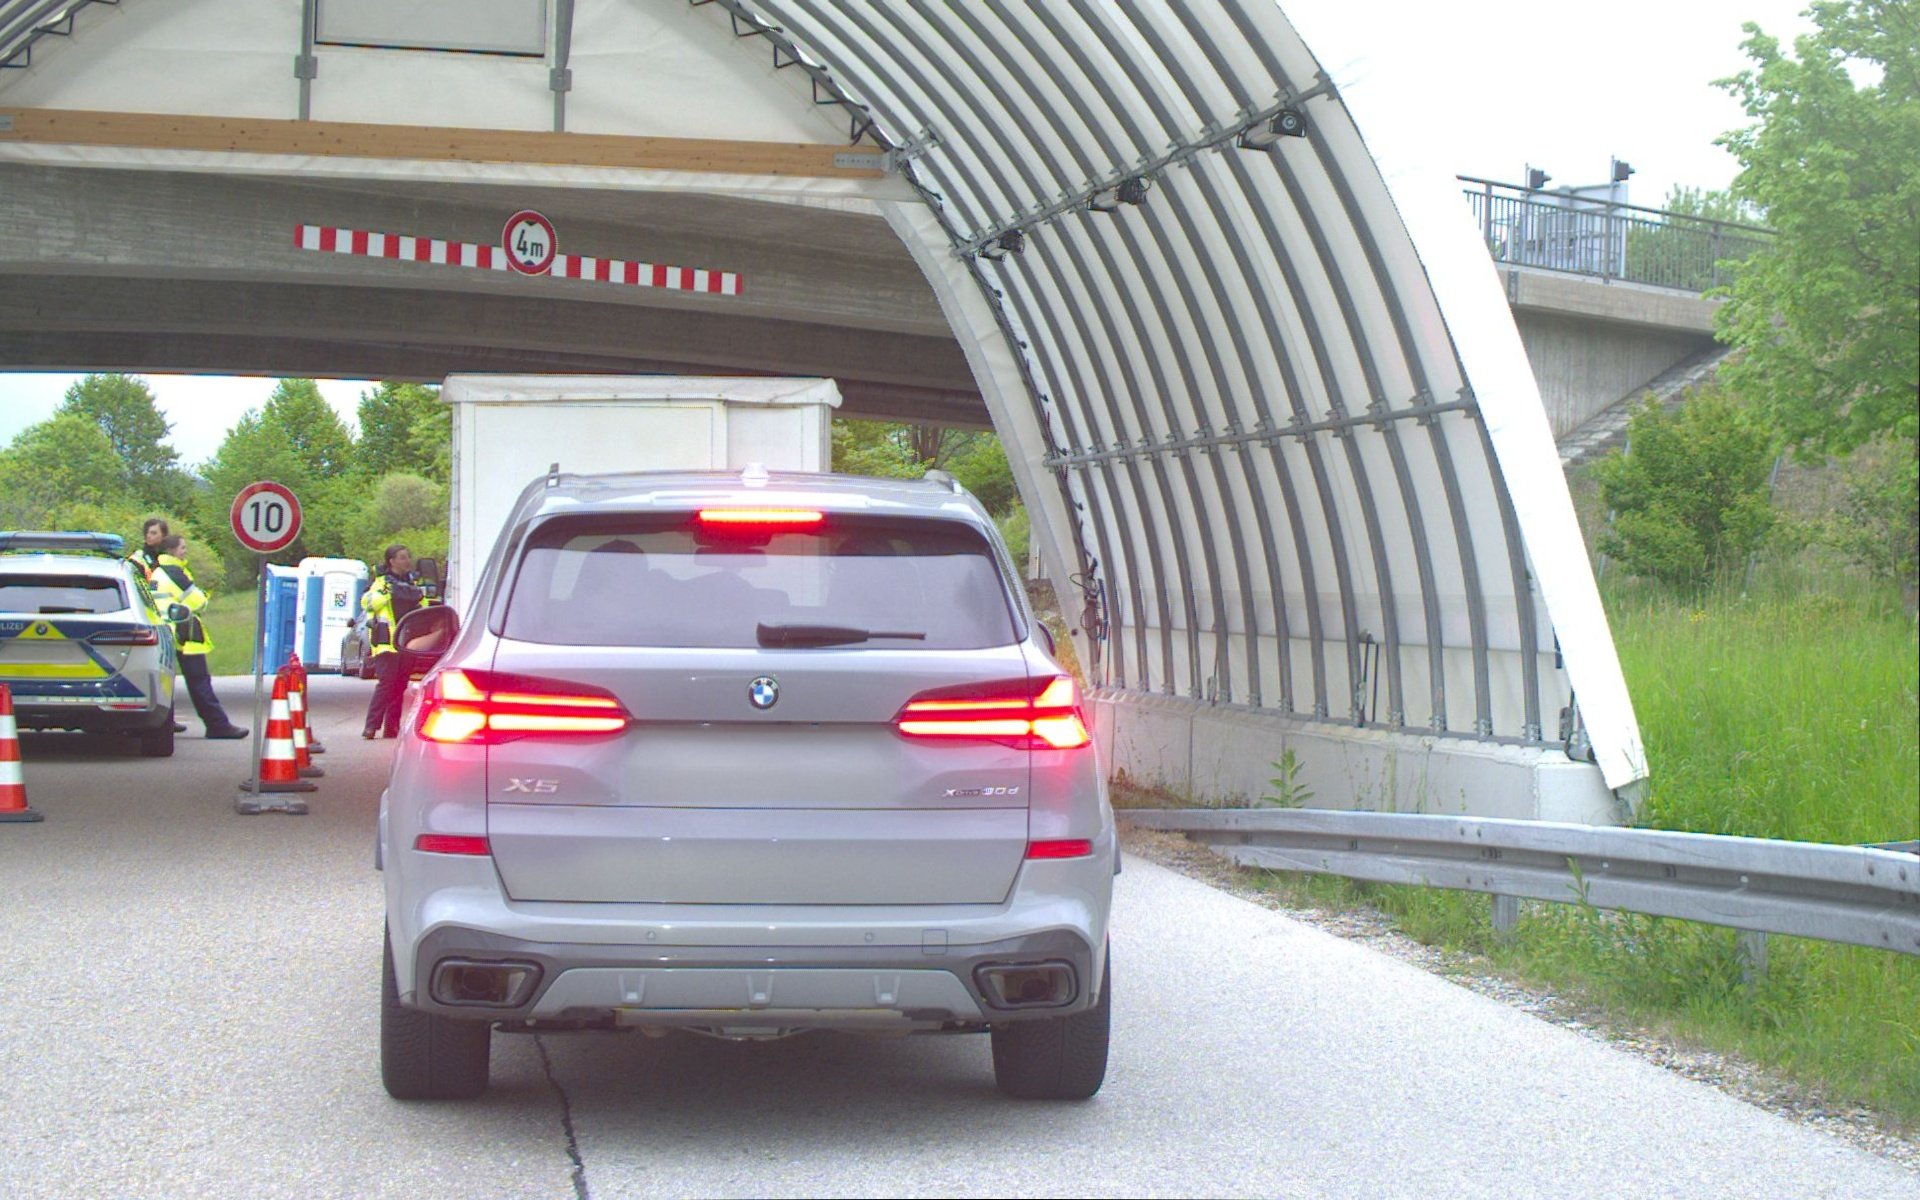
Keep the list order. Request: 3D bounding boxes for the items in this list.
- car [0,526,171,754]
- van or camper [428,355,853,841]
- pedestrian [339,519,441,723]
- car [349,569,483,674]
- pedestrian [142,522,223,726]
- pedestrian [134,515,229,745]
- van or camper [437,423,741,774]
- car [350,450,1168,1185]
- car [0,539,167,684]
[{"bbox_3d":[-7.162,0.276,26.761,1.877,1.641,4.001,0,0,-15],"label":"car"},{"bbox_3d":[-2.176,-0.040,21.415,2.229,2.543,6.612,0,0,-9],"label":"van or camper"},{"bbox_3d":[-4.876,0.170,29.379,0.754,1.716,0.782,0,0,-18],"label":"pedestrian"},{"bbox_3d":[-9.276,0.335,58.410,1.993,1.716,3.897,0,0,-13],"label":"car"},{"bbox_3d":[-6.755,0.205,29.889,0.609,1.748,0.666,0,0,-6],"label":"pedestrian"},{"bbox_3d":[-6.559,0.244,28.946,0.749,1.912,0.763,0,0,-15],"label":"pedestrian"},{"bbox_3d":[-3.084,-0.030,27.491,2.103,2.510,5.552,0,0,-9],"label":"van or camper"},{"bbox_3d":[-0.790,0.501,10.353,1.993,1.759,4.001,0,0,-9],"label":"car"},{"bbox_3d":[-13.946,0.149,49.000,4.807,2.007,1.840,0,0,7],"label":"car"}]
